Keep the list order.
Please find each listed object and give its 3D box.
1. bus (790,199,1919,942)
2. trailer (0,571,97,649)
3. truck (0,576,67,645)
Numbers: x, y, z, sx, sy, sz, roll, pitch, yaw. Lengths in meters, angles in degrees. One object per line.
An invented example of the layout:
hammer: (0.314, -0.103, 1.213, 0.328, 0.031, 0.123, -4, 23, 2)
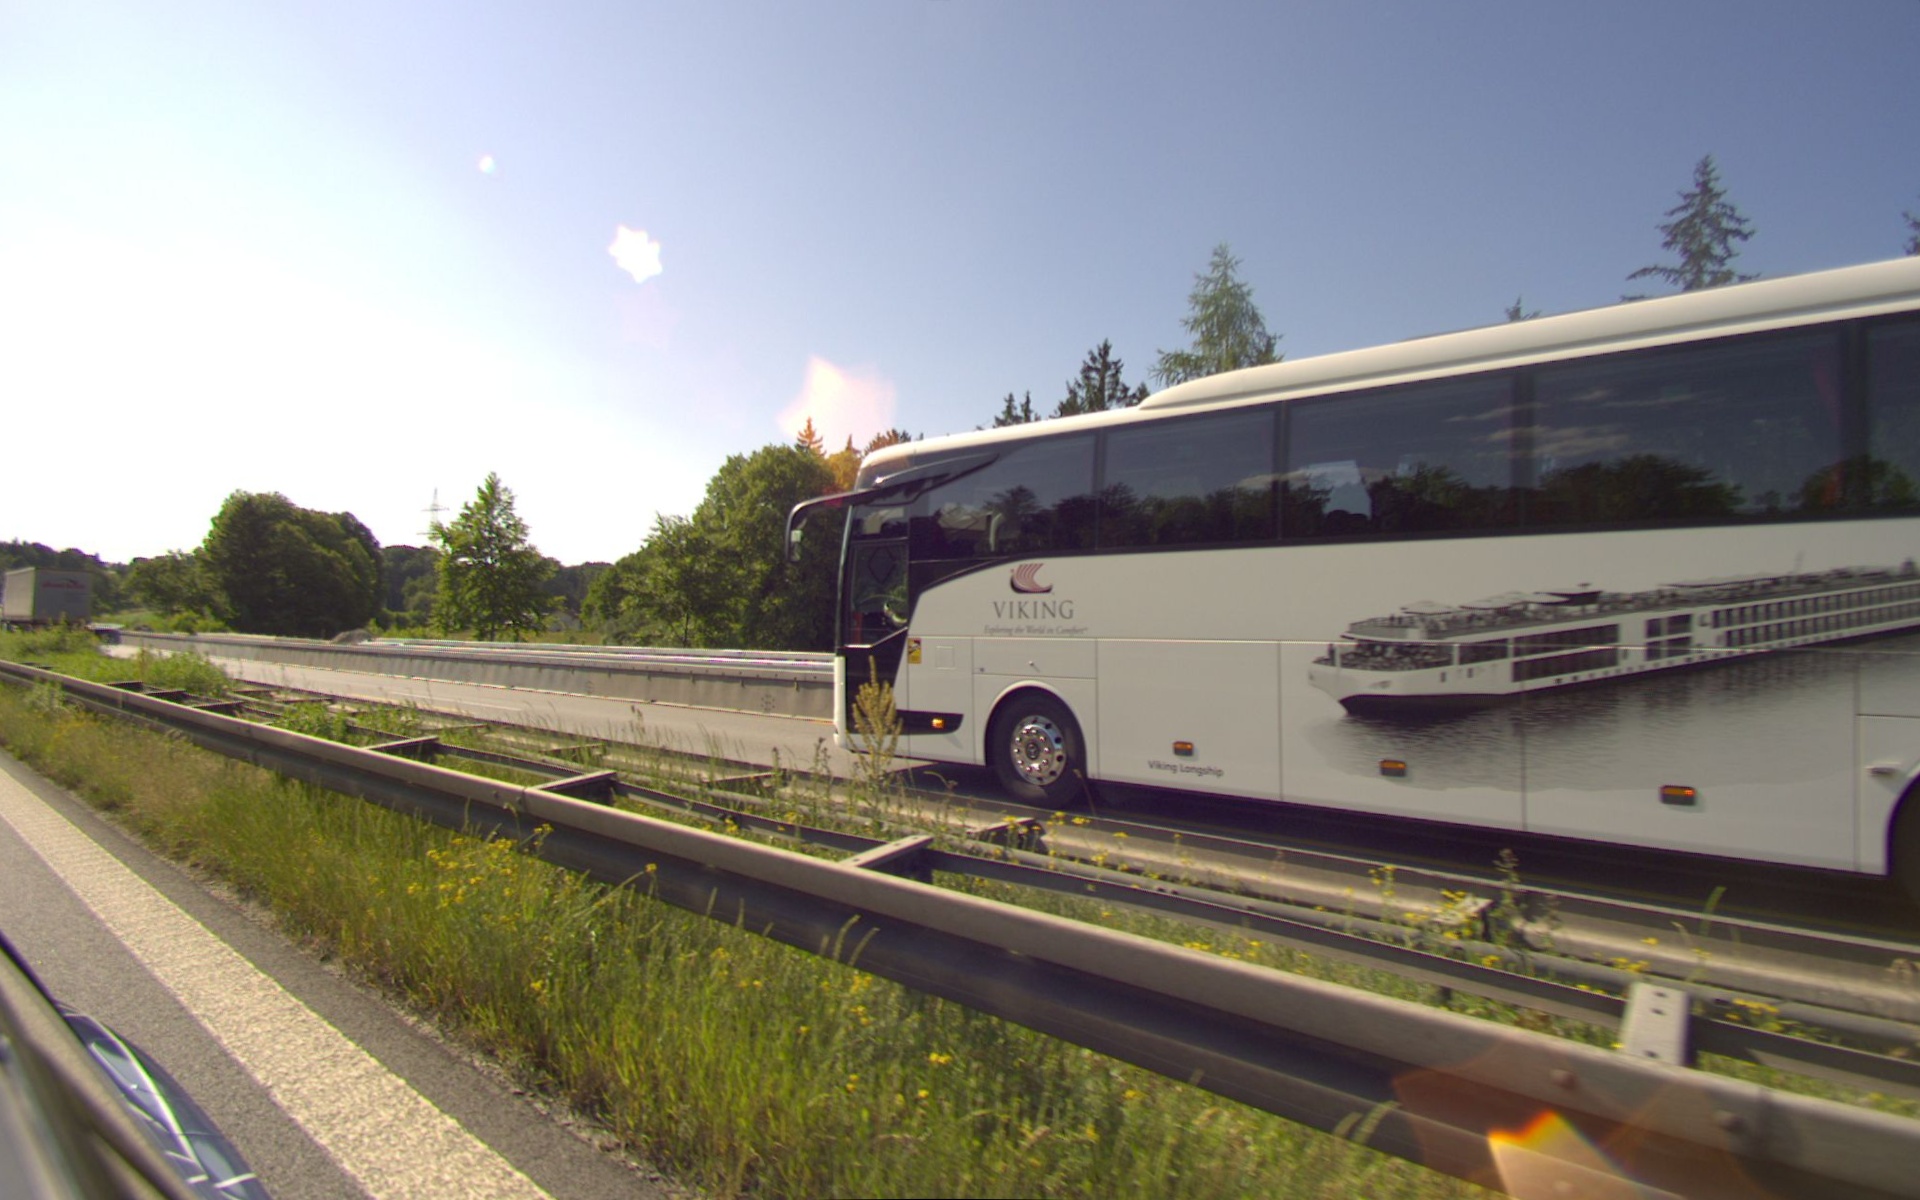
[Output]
bus: (4.034, -0.102, 7.551, 12.908, 3.699, 2.852, -1, -2, 40)
trailer: (-54.042, 0.636, 59.681, 13.991, 4.101, 2.712, -1, -4, 42)
truck: (-58.966, 0.717, 64.080, 5.473, 4.119, 2.741, -1, -4, 42)
